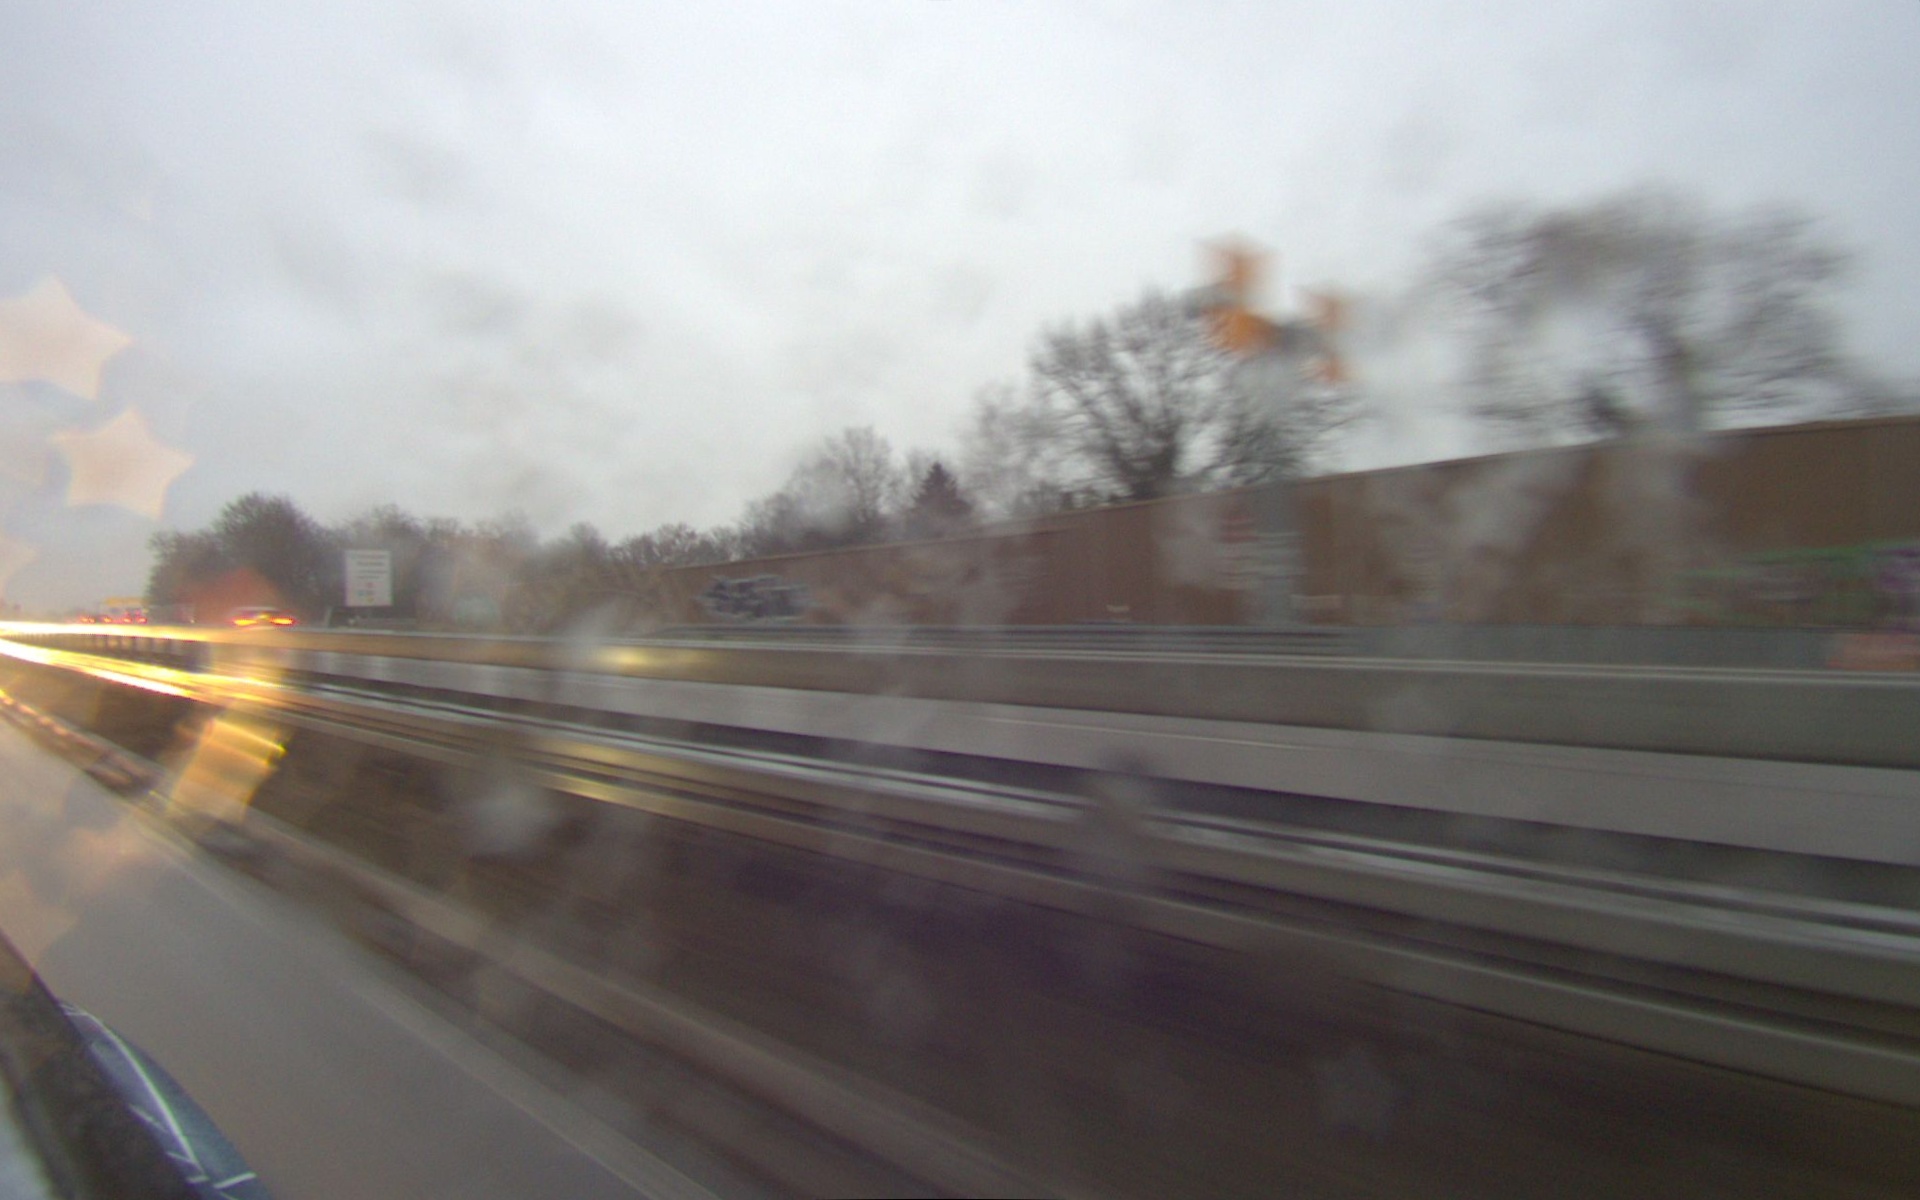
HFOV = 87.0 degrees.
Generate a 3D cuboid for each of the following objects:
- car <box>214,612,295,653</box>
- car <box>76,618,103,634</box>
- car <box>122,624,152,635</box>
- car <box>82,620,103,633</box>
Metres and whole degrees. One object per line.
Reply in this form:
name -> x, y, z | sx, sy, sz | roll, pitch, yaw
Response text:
car -> -29.042, 1.301, 41.619 | 4.354, 1.567, 1.817 | -1, 0, 42
car -> -86.897, 2.584, 100.999 | 3.683, 1.452, 1.678 | -1, 0, 44
car -> -92.647, 3.307, 113.927 | 3.995, 1.170, 1.779 | -1, 0, 39
car -> -117.286, 3.573, 136.835 | 1.844, 1.639, 4.783 | 0, 0, -44
